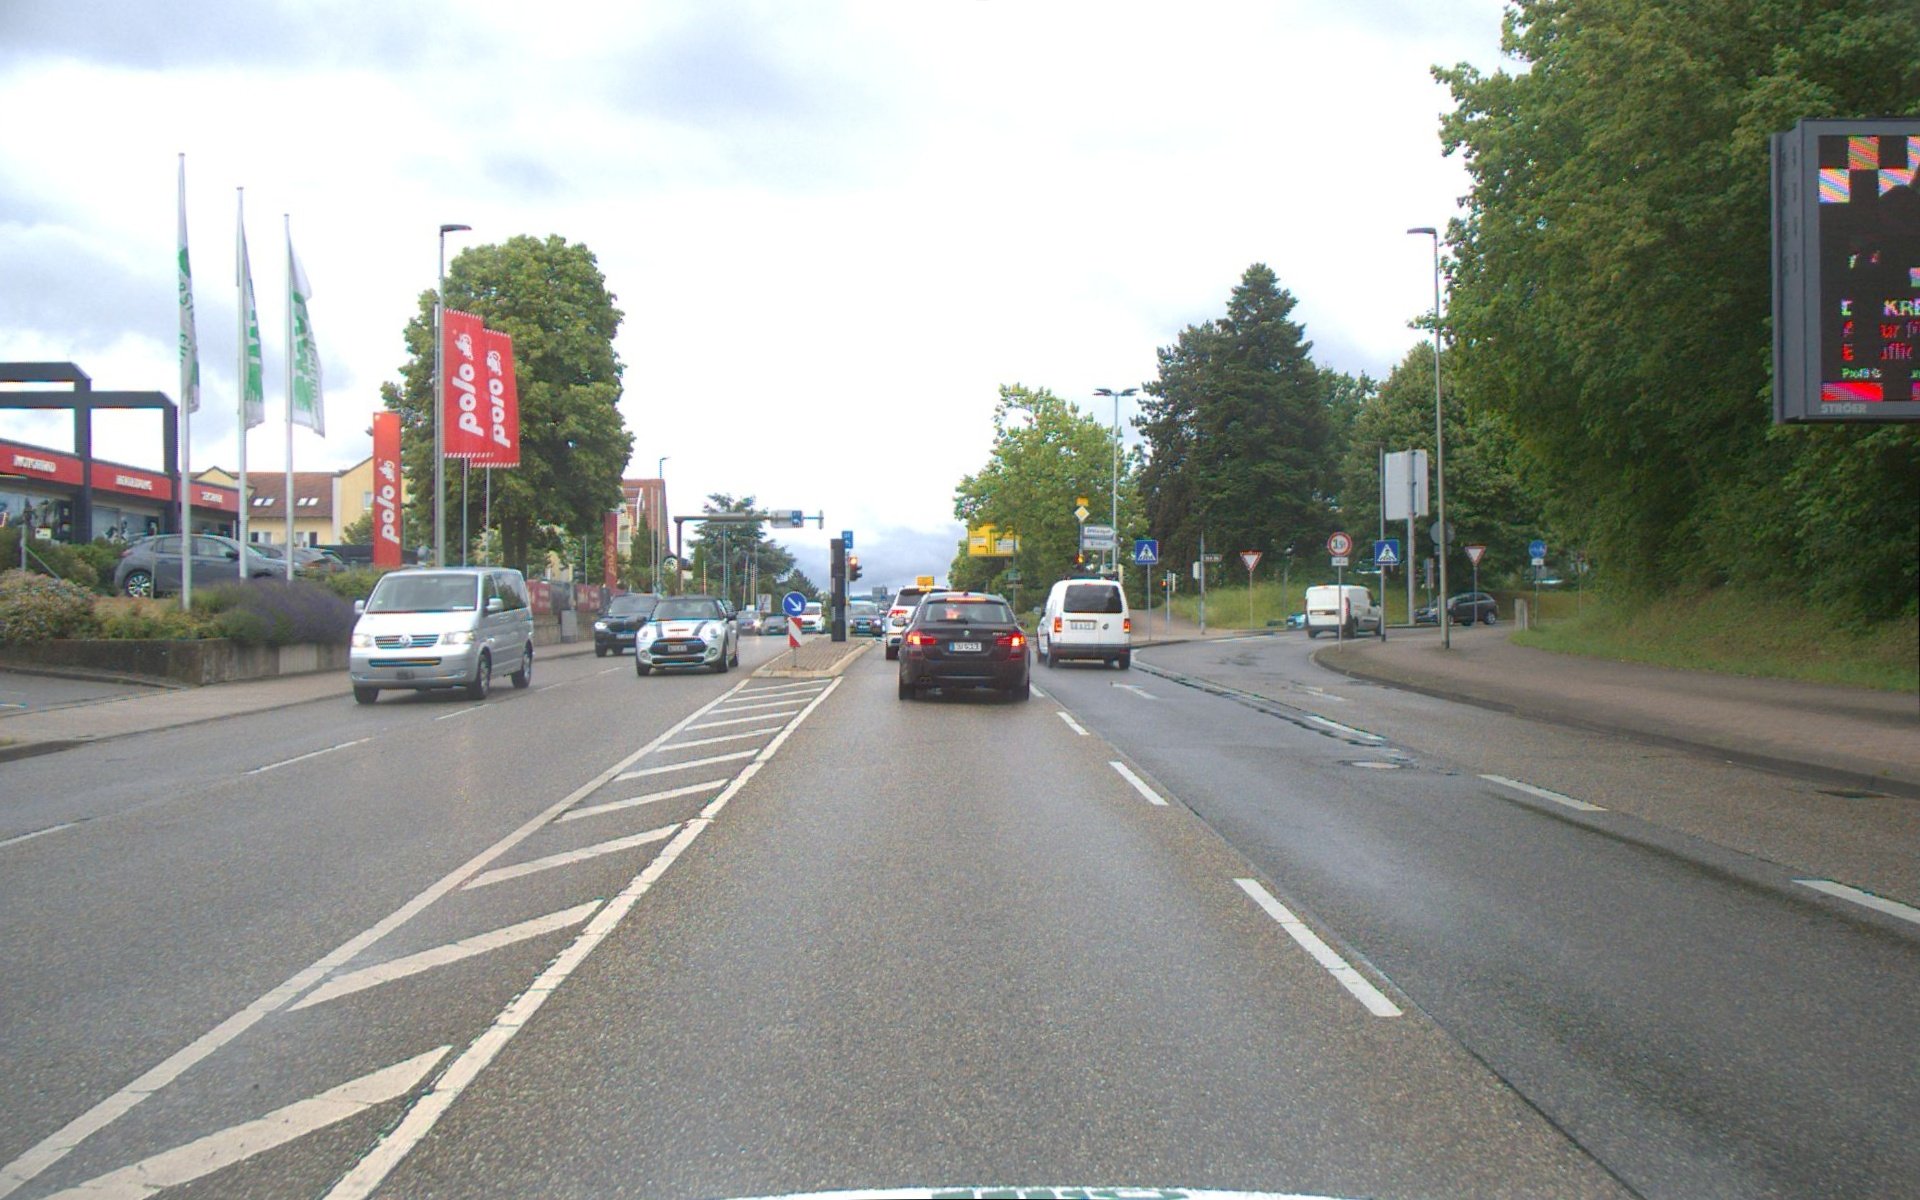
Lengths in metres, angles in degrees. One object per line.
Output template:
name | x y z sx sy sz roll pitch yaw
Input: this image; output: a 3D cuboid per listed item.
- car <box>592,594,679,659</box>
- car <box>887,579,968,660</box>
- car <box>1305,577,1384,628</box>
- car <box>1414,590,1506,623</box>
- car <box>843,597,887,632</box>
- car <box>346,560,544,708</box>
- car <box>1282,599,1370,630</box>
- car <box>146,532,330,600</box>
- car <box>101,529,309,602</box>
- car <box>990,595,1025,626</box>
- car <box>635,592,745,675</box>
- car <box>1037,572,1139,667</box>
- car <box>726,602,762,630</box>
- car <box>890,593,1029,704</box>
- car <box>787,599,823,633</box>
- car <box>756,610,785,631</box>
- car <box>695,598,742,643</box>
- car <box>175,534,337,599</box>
car | -9.096 0.691 46.667 1.716 1.638 4.530 -2 1 -3
car | -0.708 0.414 38.379 1.692 1.740 3.384 1 1 2
car | 14.028 0.048 60.255 1.780 1.738 3.940 0 2 29
car | 24.005 0.295 79.412 4.273 1.492 1.881 -1 0 -31
car | -4.236 0.633 73.369 1.857 1.481 4.093 -1 0 -5
car | -7.838 0.447 25.660 1.760 2.017 4.895 -2 1 -4
car | 17.673 0.694 79.880 3.928 1.316 1.600 -2 1 -20
car | -16.845 -0.794 38.747 3.579 1.508 1.738 -1 0 -9
car | -16.343 -0.750 35.964 3.755 1.508 1.738 -1 0 -9
car | 2.300 0.497 80.622 1.567 1.395 3.680 -1 2 0
car | -5.130 0.597 31.831 1.634 1.422 3.997 -2 0 -4
car | 2.687 0.372 35.531 1.706 1.902 3.944 1 0 -3
car | -12.032 0.871 92.324 1.602 1.406 3.763 -2 1 -3
car | 0.031 0.634 23.771 1.816 1.444 3.957 1 0 1
car | -9.049 0.898 96.750 1.820 1.855 4.576 -2 0 -3
car | -13.339 1.432 116.631 1.634 1.406 4.070 -1 0 -2
car | -9.912 0.807 68.168 1.723 1.706 4.142 -2 0 -7
car | -17.448 -0.827 41.088 3.346 1.536 1.582 -1 0 -2
